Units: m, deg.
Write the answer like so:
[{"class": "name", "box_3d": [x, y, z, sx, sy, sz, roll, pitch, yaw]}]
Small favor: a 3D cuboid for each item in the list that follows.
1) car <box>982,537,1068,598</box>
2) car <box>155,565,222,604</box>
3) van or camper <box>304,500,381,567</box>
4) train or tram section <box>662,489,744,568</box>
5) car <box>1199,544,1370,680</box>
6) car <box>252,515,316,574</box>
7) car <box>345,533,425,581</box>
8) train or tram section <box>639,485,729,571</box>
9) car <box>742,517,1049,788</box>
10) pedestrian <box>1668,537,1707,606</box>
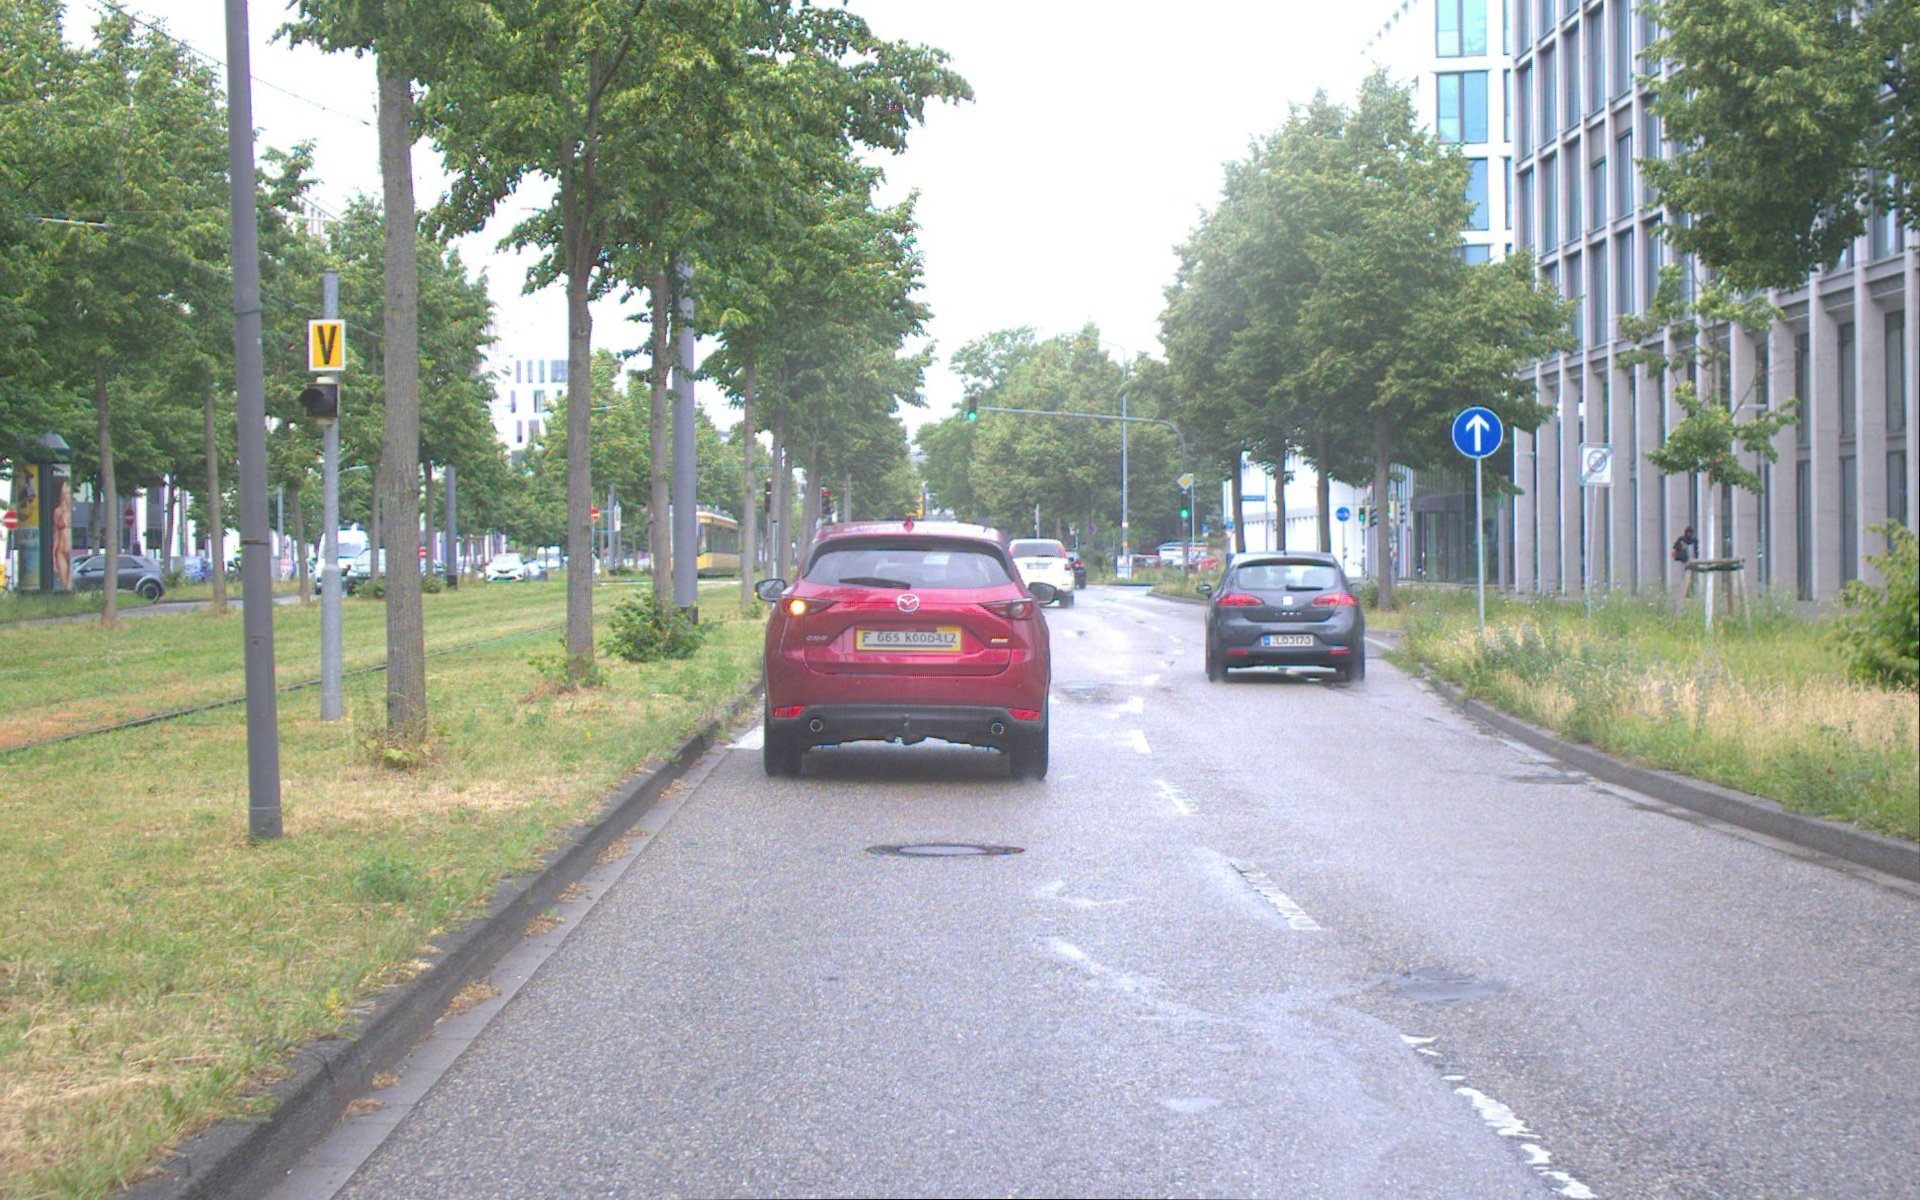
[{"class": "car", "box_3d": [1.605, -0.825, 85.907, 1.967, 1.432, 4.553, 1, 1, -1]}, {"class": "car", "box_3d": [-30.445, -0.627, 135.747, 1.993, 1.479, 4.446, 0, 1, -5]}, {"class": "van or camper", "box_3d": [-22.803, -2.461, 127.143, 1.909, 2.402, 5.402, 0, 1, 0]}, {"class": "train or tram section", "box_3d": [-12.465, -3.466, 167.970, 3.129, 3.646, 15.065, -1, 1, -1]}, {"class": "car", "box_3d": [3.670, 0.102, 39.396, 1.744, 1.460, 3.781, 0, 1, 2]}, {"class": "car", "box_3d": [-29.674, -2.436, 150.952, 2.255, 2.553, 4.656, 0, 1, -5]}, {"class": "car", "box_3d": [-18.660, -1.422, 111.694, 1.863, 1.519, 4.479, 0, 1, 0]}, {"class": "train or tram section", "box_3d": [-12.269, -3.206, 153.768, 3.129, 3.646, 13.407, -1, 1, -1]}, {"class": "car", "box_3d": [-0.447, 0.285, 23.228, 1.898, 1.671, 4.000, 0, 1, -1]}, {"class": "pedestrian", "box_3d": [18.208, -0.714, 86.017, 0.717, 1.709, 0.861, -2, 1, -1]}]
